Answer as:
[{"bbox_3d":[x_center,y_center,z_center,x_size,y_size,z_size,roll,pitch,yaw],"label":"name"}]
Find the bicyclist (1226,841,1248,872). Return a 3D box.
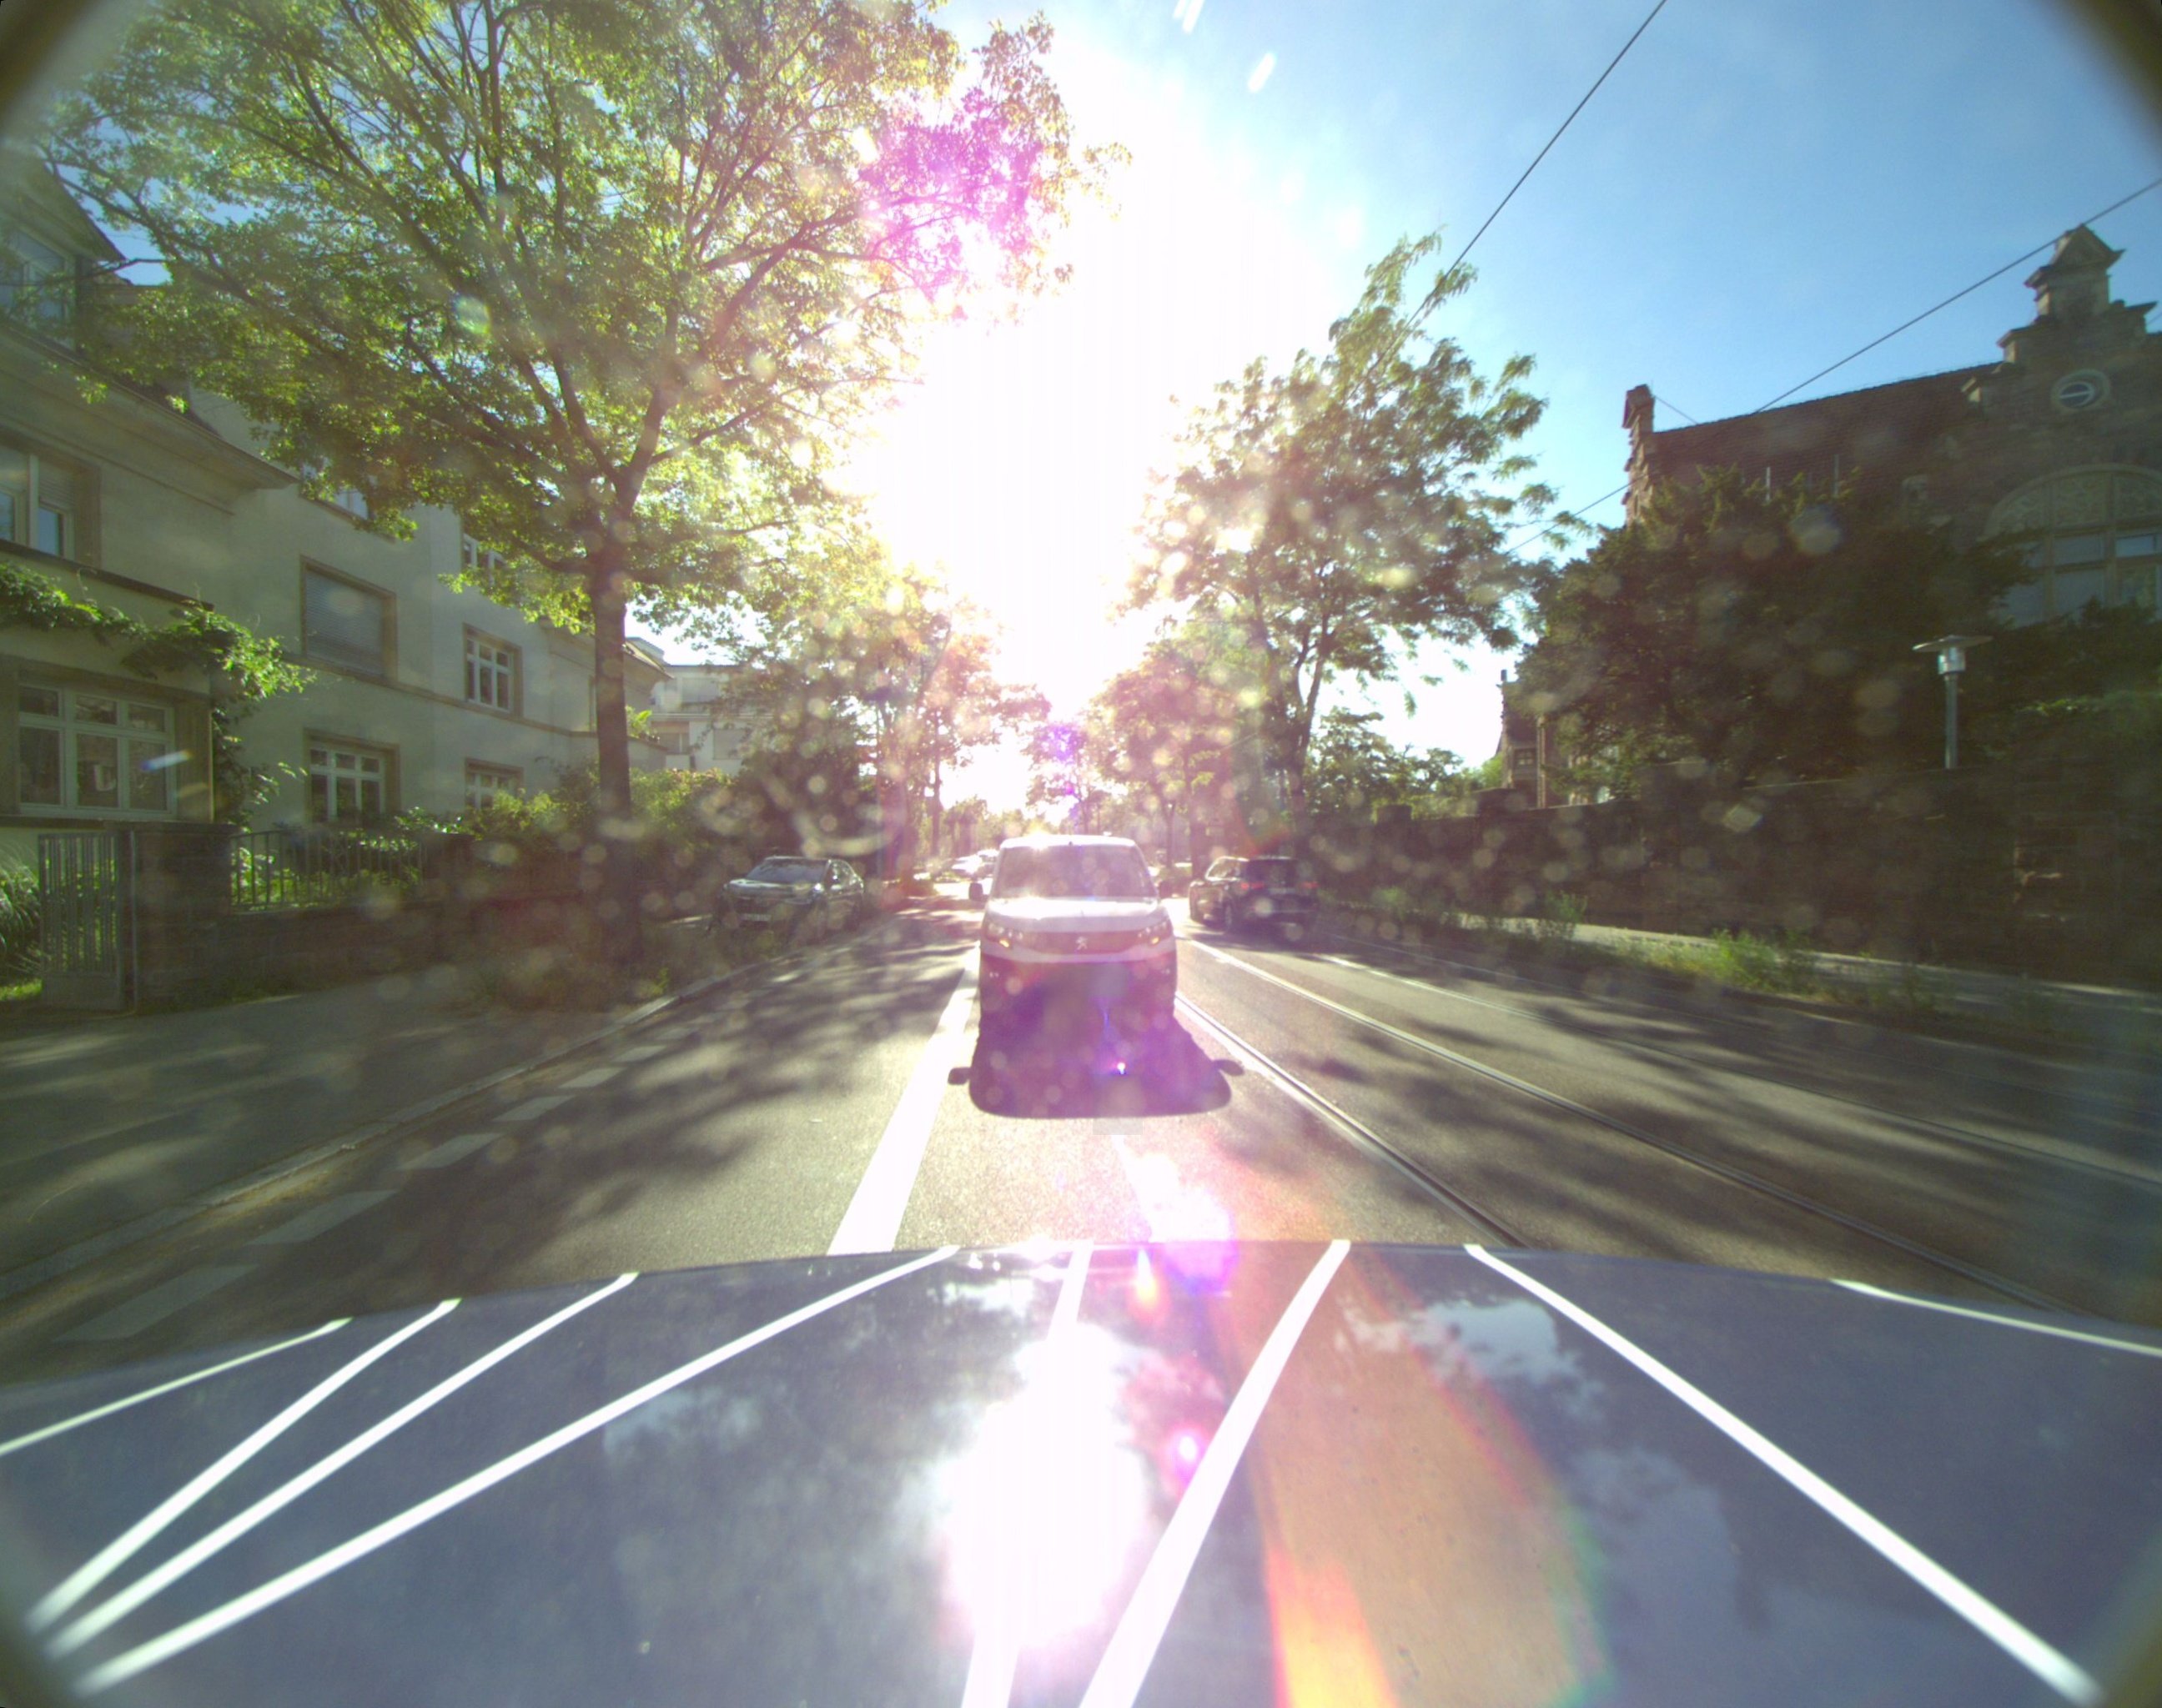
[{"bbox_3d":[7.011,0.113,34.172,0.734,1.383,1.060,-2,1,-2],"label":"bicyclist"}]

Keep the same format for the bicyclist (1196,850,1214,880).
[{"bbox_3d":[6.291,0.552,38.633,0.744,1.526,0.751,-2,1,-2],"label":"bicyclist"}]

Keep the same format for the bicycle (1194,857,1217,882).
[{"bbox_3d":[6.300,0.769,38.624,0.747,1.184,2.087,-2,1,-2],"label":"bicycle"}]

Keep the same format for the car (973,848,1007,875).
[{"bbox_3d":[-6.610,0.528,55.585,1.904,1.819,4.248,-2,1,1],"label":"car"}]

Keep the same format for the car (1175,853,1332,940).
[{"bbox_3d":[3.584,0.877,16.674,1.927,1.606,4.115,-1,-2,-9],"label":"car"}]

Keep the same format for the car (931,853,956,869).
[{"bbox_3d":[-13.450,0.699,74.361,1.741,1.434,3.999,-2,1,-2],"label":"car"}]

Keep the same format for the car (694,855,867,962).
[{"bbox_3d":[-5.794,0.947,15.265,1.999,1.733,4.168,-2,1,-4],"label":"car"}]

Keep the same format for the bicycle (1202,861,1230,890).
[{"bbox_3d":[6.030,0.932,34.089,0.774,1.184,2.102,-2,1,-2],"label":"bicycle"}]

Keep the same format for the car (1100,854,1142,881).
[{"bbox_3d":[2.264,0.729,43.925,1.740,1.414,4.257,-1,0,-6],"label":"car"}]

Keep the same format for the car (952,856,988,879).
[{"bbox_3d":[-7.127,0.870,49.076,1.719,1.332,3.917,-2,1,0],"label":"car"}]

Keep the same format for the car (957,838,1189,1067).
[{"bbox_3d":[-0.181,0.762,8.253,1.832,1.788,4.332,-1,1,-4],"label":"car"}]

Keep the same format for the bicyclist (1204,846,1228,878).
[{"bbox_3d":[6.021,0.338,33.947,0.768,1.383,1.272,-2,1,-2],"label":"bicyclist"}]

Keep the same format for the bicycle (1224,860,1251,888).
[{"bbox_3d":[7.027,0.877,34.192,0.733,1.184,2.087,-2,1,-2],"label":"bicycle"}]
